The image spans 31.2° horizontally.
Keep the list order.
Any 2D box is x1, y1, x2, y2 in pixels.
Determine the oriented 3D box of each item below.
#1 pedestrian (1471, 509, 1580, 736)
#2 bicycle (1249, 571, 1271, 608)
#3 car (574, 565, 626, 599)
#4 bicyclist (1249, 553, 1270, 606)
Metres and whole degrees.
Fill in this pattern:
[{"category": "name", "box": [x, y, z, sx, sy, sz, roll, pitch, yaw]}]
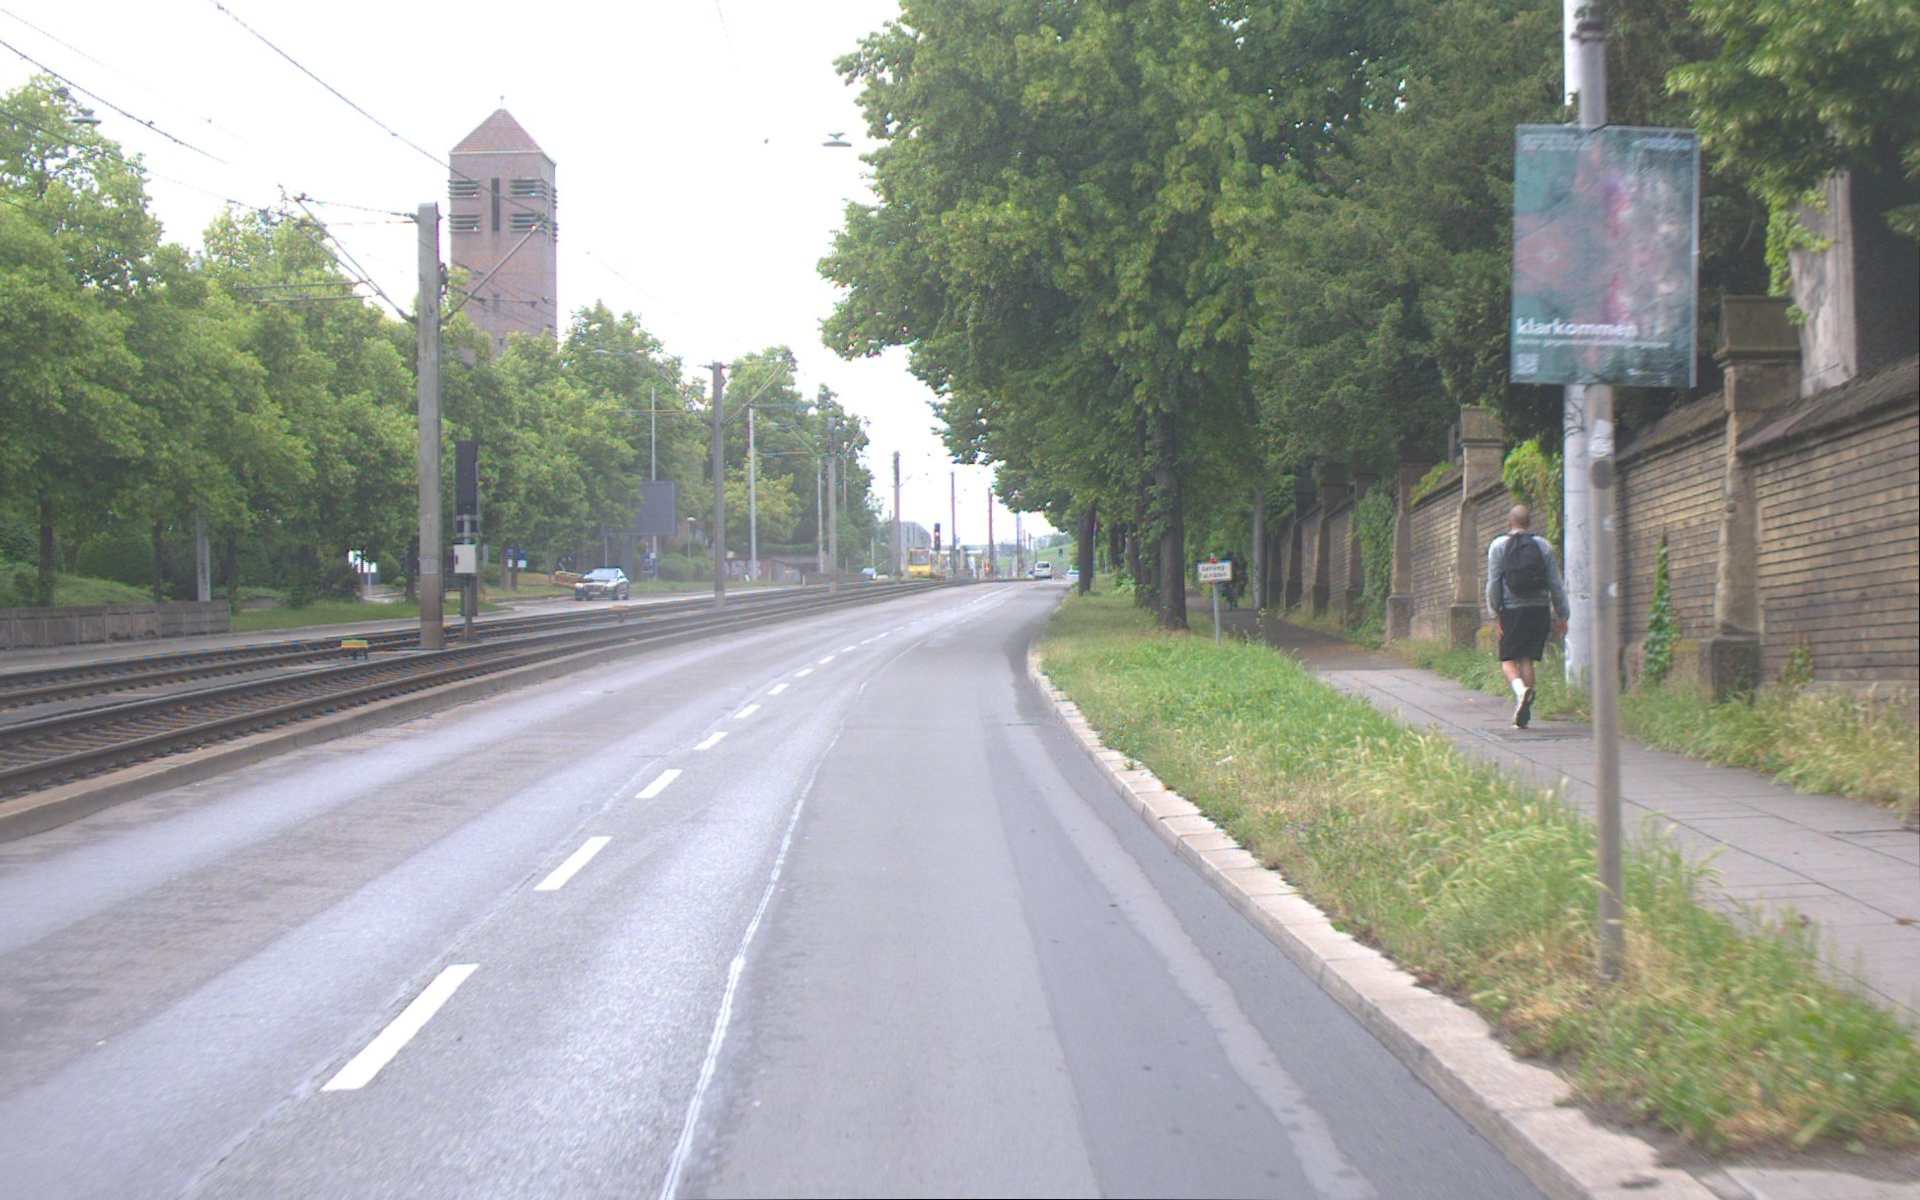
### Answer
[{"category": "pedestrian", "box": [4.492, 0.172, 27.353, 0.708, 1.773, 0.901, 0, 1, -1]}, {"category": "bicycle", "box": [7.905, -0.286, 90.605, 0.543, 0.945, 2.549, -1, 0, 6]}, {"category": "car", "box": [-16.310, -0.833, 156.115, 1.794, 1.525, 4.622, -1, 1, 1]}, {"category": "bicyclist", "box": [7.866, -0.530, 90.259, 0.535, 1.385, 0.666, -1, 0, 5]}]
